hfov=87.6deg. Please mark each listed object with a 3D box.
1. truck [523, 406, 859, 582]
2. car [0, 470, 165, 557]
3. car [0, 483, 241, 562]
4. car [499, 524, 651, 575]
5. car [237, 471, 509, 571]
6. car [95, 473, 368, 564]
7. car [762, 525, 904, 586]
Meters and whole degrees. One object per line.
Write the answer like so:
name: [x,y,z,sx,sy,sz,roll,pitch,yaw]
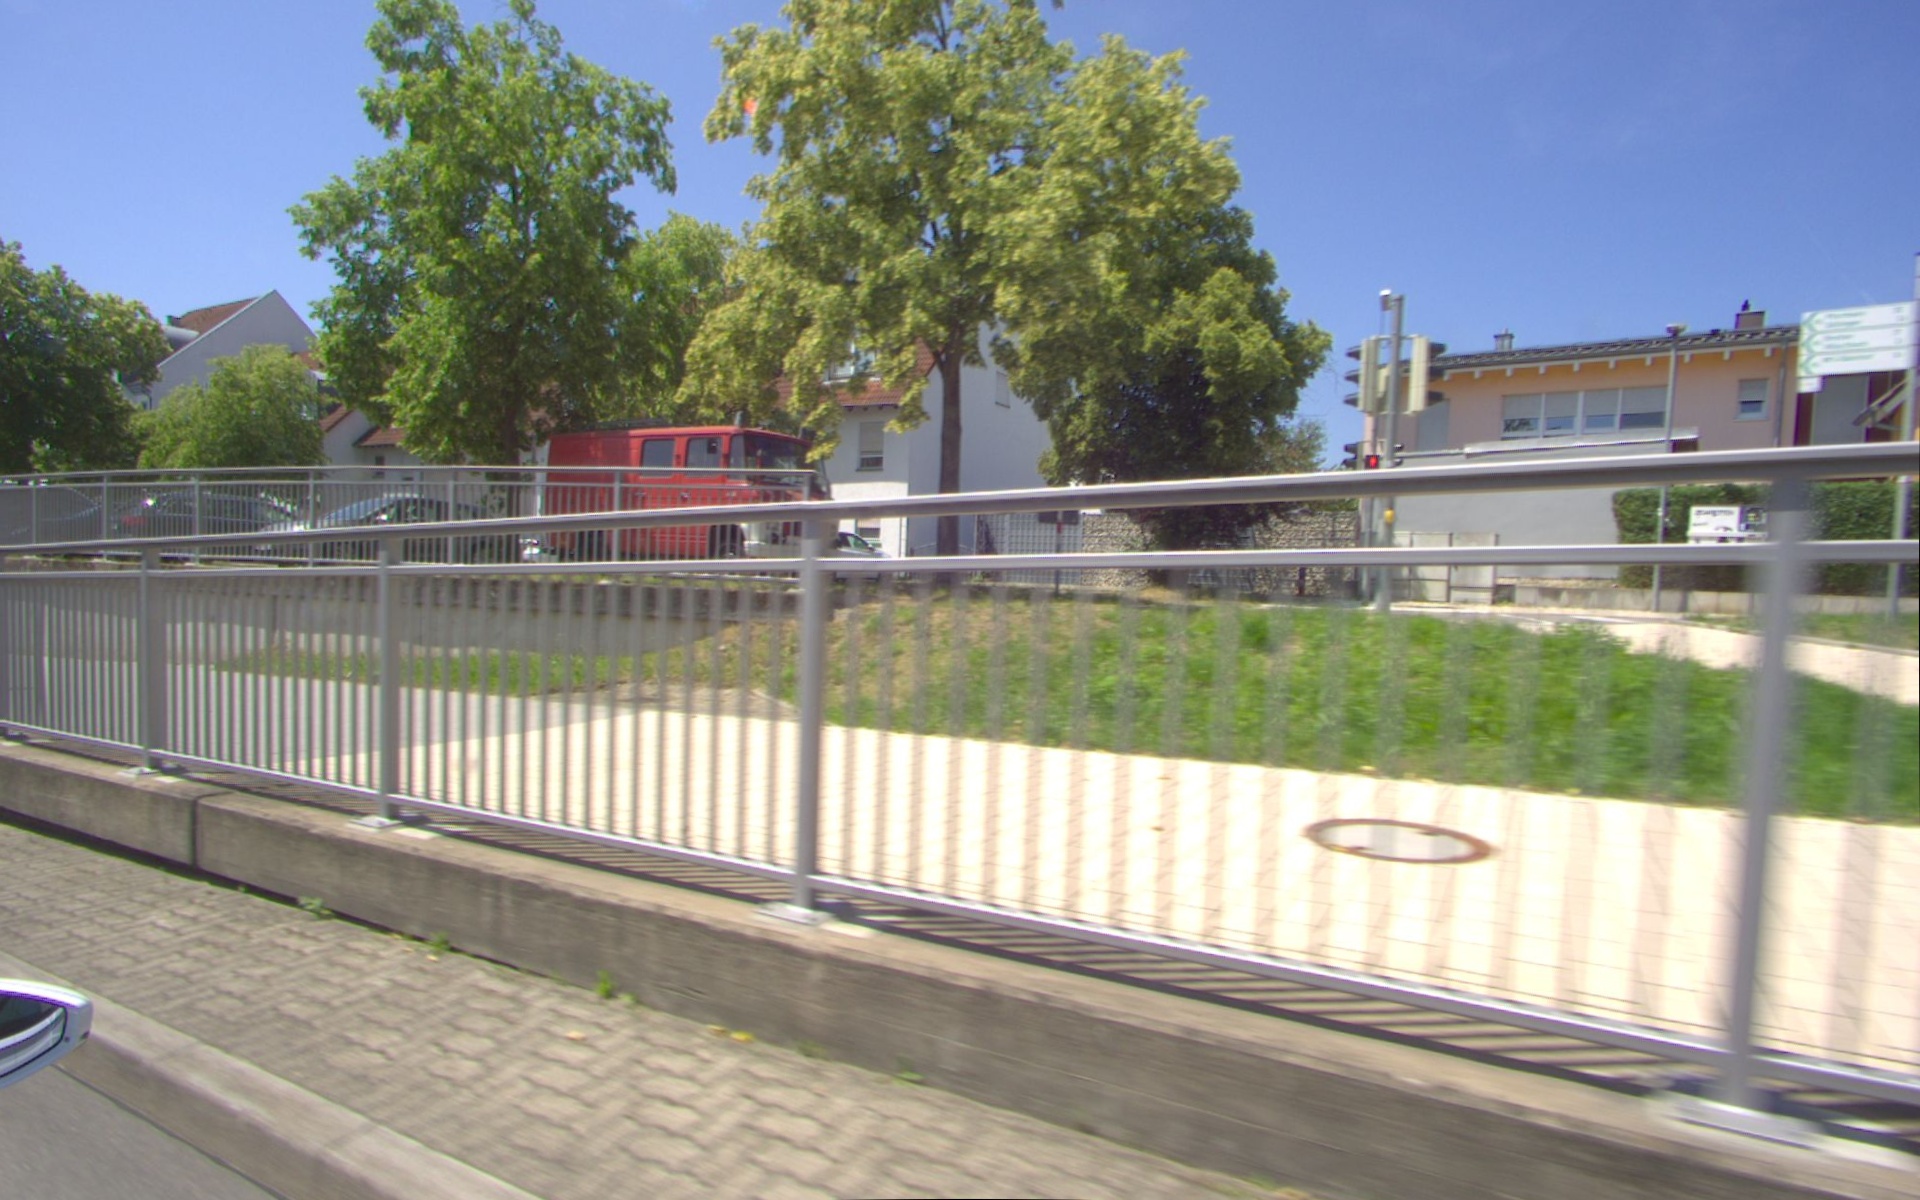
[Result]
truck: [-4.359,-1.571,15.947,5.180,2.366,2.129,3,2,31]
car: [-24.837,-2.304,26.910,1.959,2.091,5.102,3,2,32]
car: [-19.542,-1.723,23.283,1.723,1.519,4.277,3,2,32]
car: [-12.177,-1.601,31.980,1.731,1.511,4.396,3,3,31]
car: [-10.635,-1.372,18.419,1.723,1.519,3.979,3,2,32]
car: [-14.617,-1.572,20.334,1.661,1.519,4.196,3,2,32]
car: [-3.341,-1.193,26.984,1.731,1.499,3.928,3,3,31]
